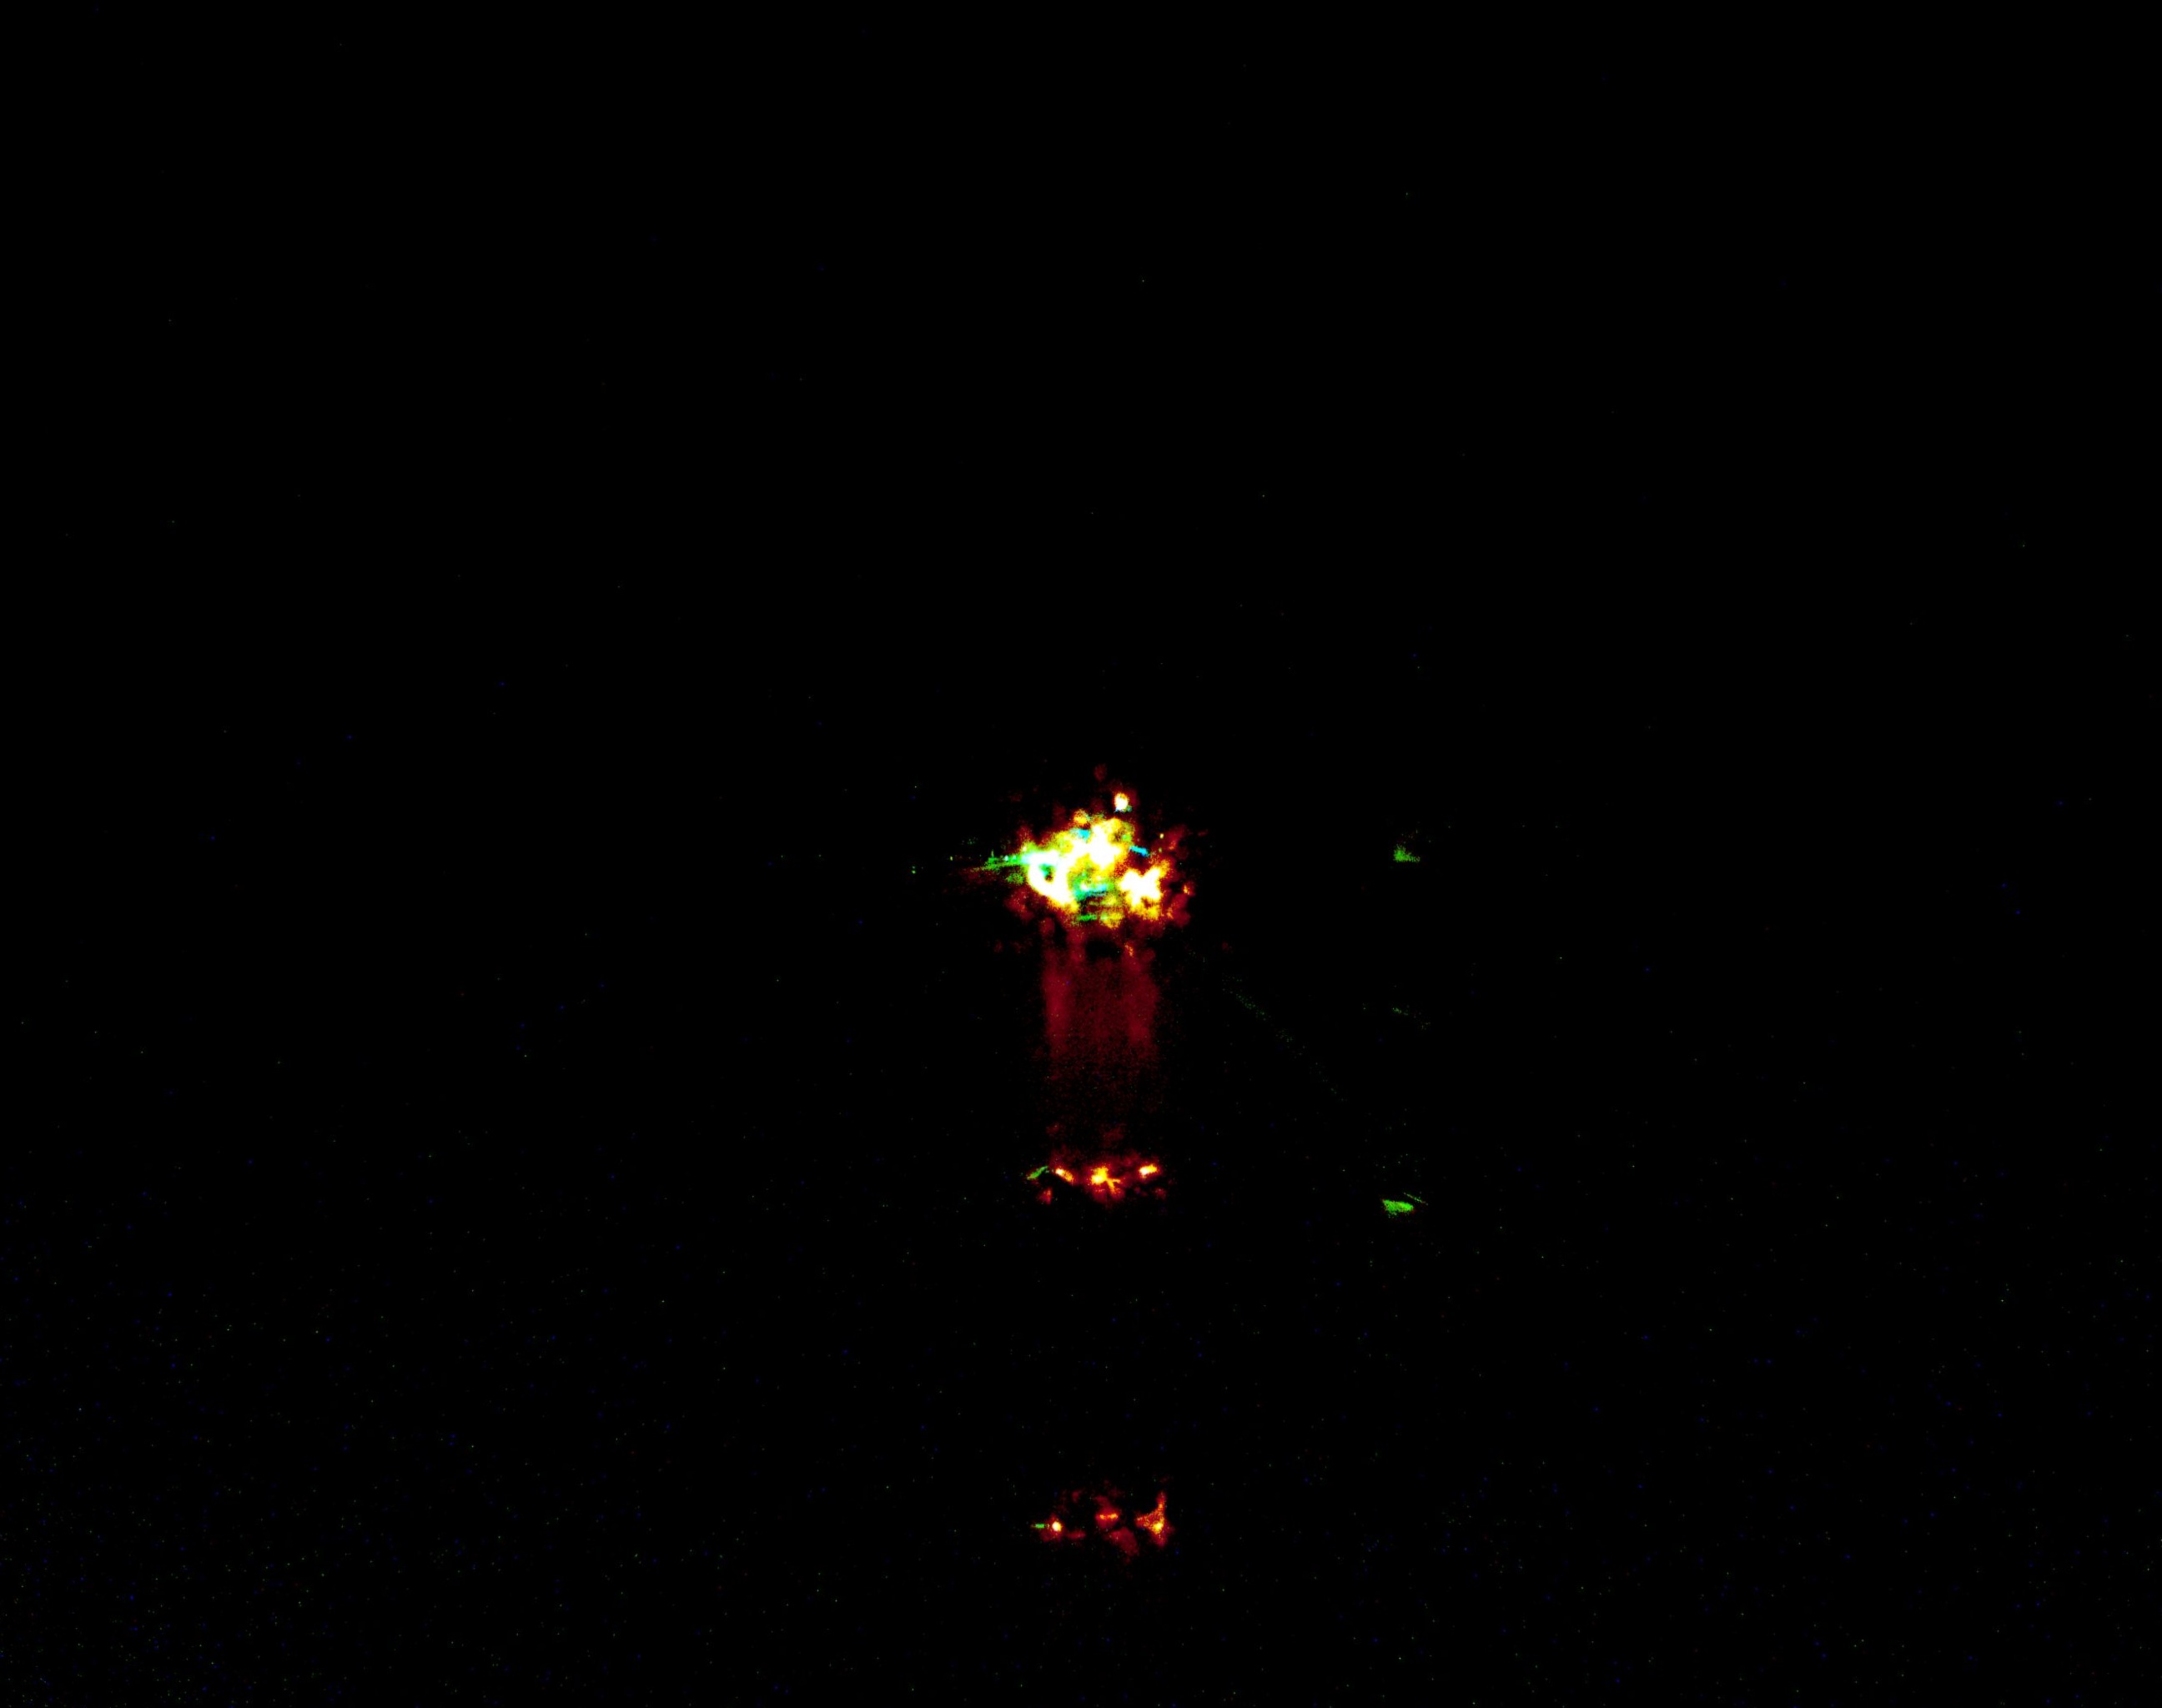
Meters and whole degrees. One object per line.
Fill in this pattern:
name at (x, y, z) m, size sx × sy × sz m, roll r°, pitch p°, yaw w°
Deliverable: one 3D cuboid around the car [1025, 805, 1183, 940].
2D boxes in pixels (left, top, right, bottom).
car at (0.415, 0.338, 17.036) m, size 2.706 × 2.307 × 6.099 m, roll 0°, pitch 0°, yaw 0°
